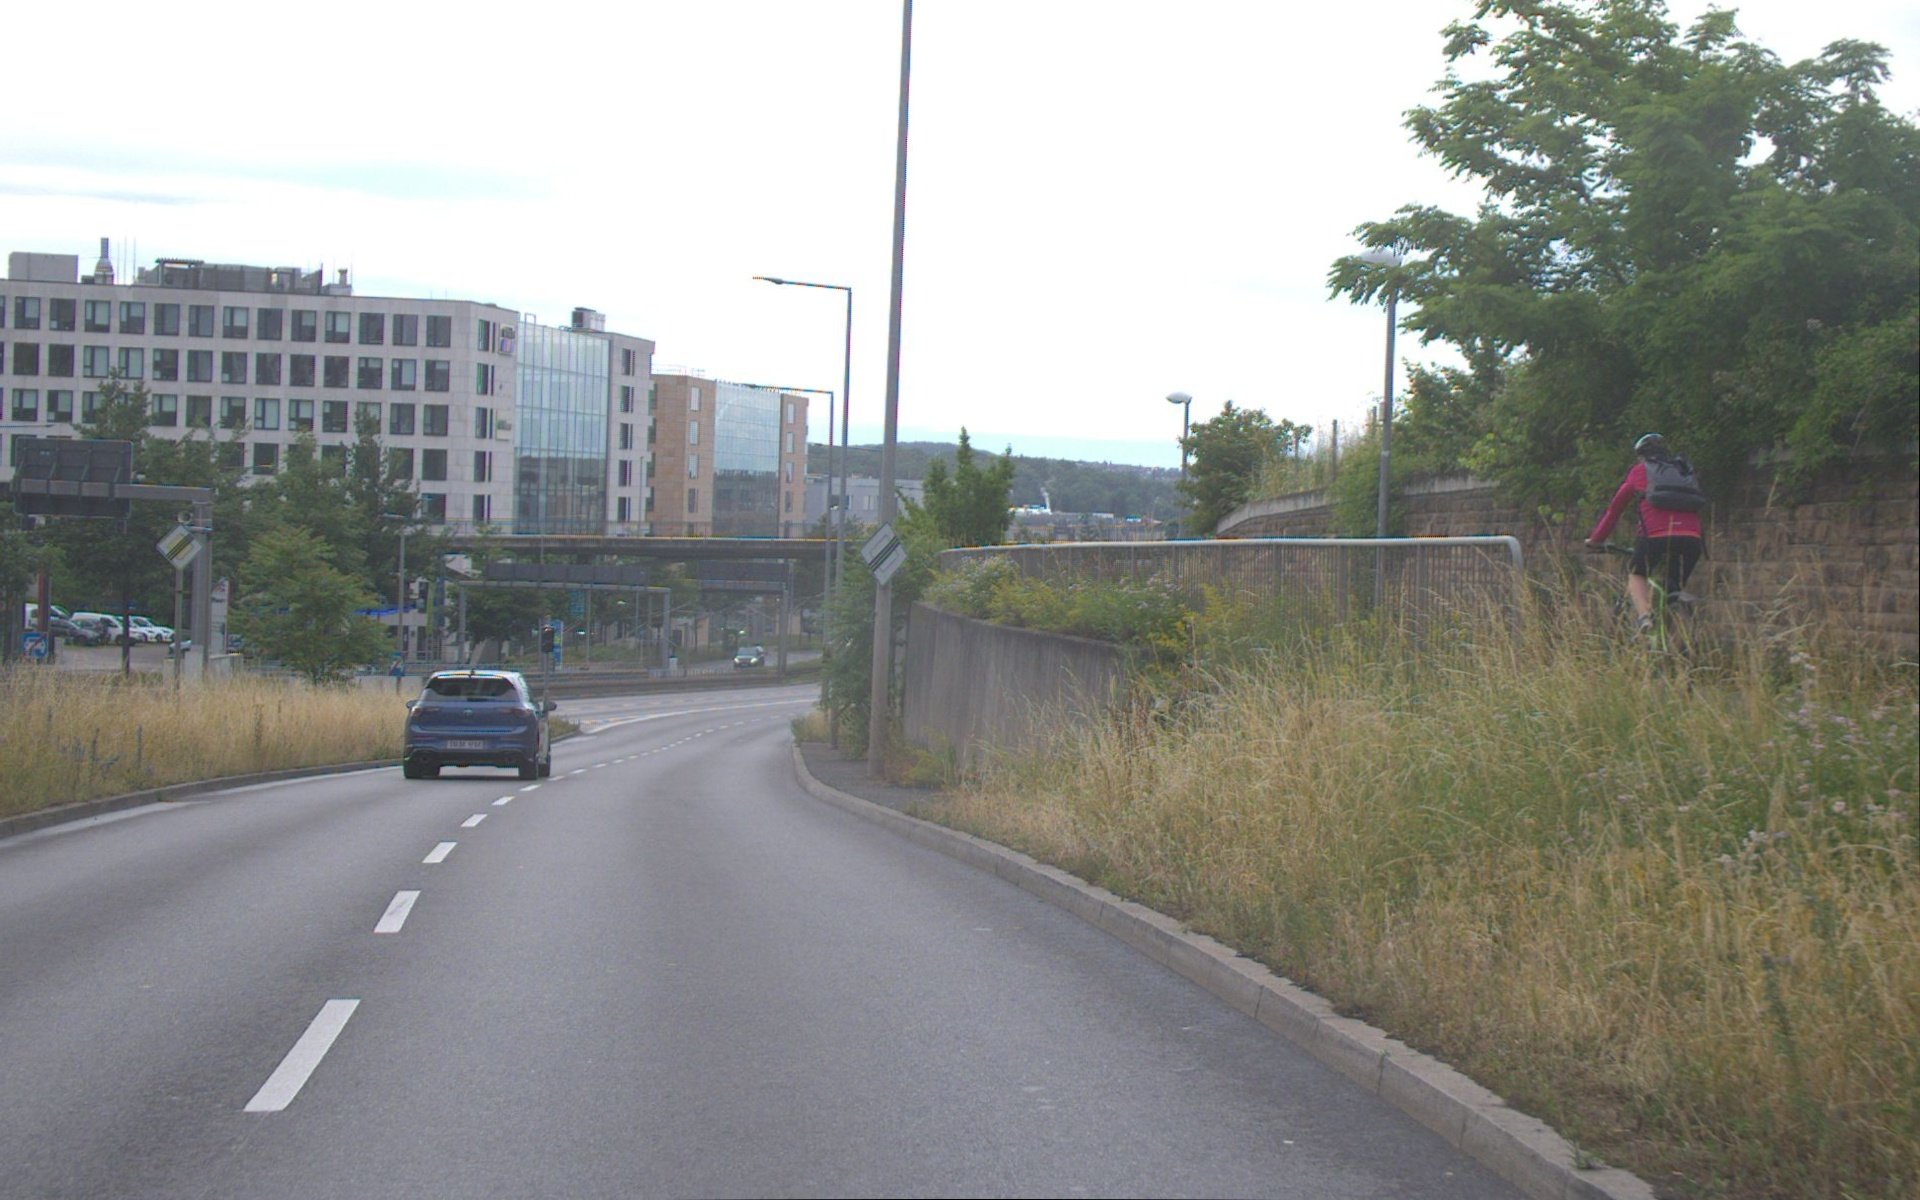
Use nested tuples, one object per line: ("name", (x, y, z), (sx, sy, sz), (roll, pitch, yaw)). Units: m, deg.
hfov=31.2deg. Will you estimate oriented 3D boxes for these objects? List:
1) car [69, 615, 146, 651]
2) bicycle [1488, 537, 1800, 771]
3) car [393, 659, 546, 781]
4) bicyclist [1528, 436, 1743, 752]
("car", (-52.077, 2.010, 210.120), (3.989, 1.869, 1.999), (5, 2, 10))
("bicycle", (4.294, 0.288, 21.973), (0.869, 1.284, 3.488), (4, 1, -6))
("car", (-6.552, 1.583, 46.167), (1.748, 1.415, 3.479), (1, 1, -4))
("bicyclist", (4.294, -0.046, 21.955), (0.869, 1.902, 1.294), (4, 1, -6))
